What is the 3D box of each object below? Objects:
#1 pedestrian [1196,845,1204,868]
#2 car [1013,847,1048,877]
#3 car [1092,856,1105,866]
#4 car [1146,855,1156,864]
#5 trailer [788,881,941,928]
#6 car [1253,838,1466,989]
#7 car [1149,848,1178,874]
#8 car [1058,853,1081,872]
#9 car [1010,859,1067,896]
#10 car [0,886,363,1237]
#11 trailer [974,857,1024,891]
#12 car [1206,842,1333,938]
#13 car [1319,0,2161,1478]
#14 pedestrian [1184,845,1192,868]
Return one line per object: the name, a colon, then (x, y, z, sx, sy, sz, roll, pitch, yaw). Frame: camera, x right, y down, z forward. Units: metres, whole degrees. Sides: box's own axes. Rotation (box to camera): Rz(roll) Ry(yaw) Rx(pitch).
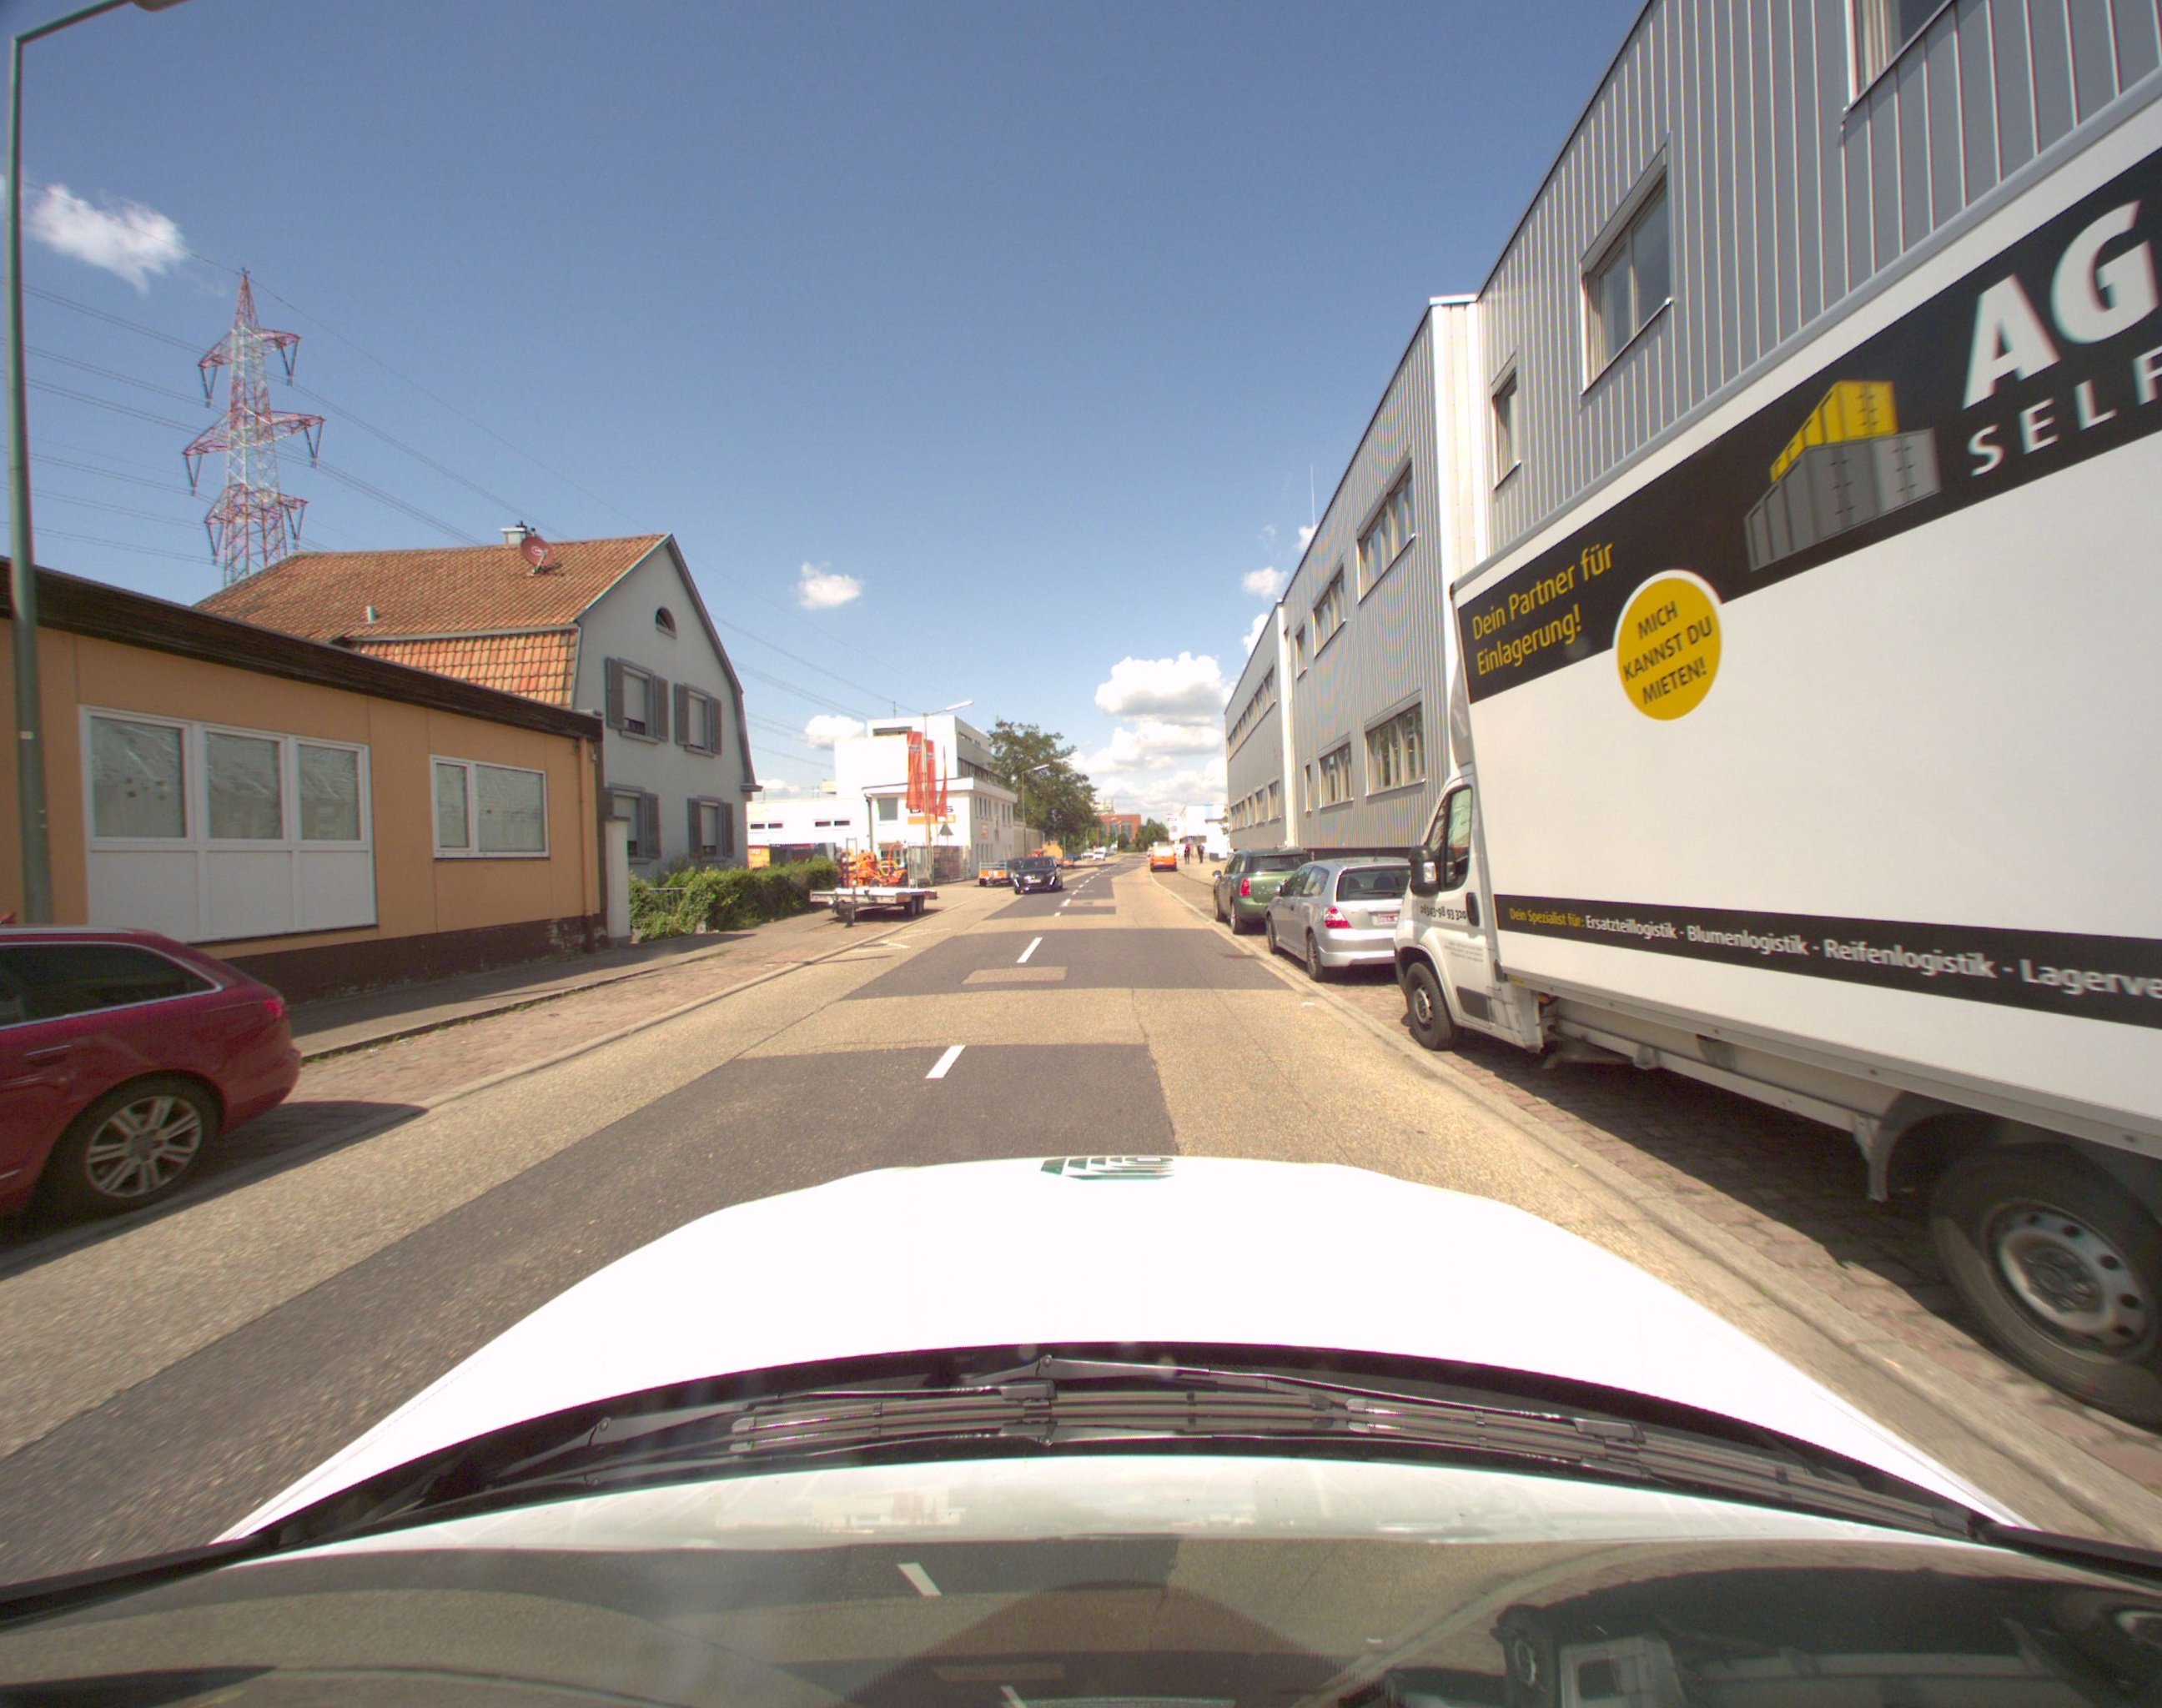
pedestrian: (10.784, 0.188, 73.788, 0.587, 2.051, 0.702, -2, 0, 1)
car: (-3.556, 0.568, 57.992, 1.984, 2.014, 4.004, -1, 0, 4)
car: (2.983, 1.176, 135.001, 1.801, 1.564, 4.006, -1, 0, 5)
car: (13.842, 1.060, 161.228, 1.931, 1.742, 4.382, -3, -1, 4)
trailer: (-5.438, 1.247, 21.426, 2.354, 0.893, 5.571, -1, 0, 2)
car: (3.465, 0.648, 10.924, 1.561, 1.573, 4.071, -3, 0, 2)
car: (5.860, 0.483, 58.351, 1.931, 1.742, 4.382, -3, -1, 4)
car: (-1.158, 0.866, 81.126, 1.913, 1.794, 4.004, -1, 0, 4)
car: (-1.620, 0.885, 32.467, 1.911, 1.285, 3.615, -3, 0, 1)
car: (-5.533, 0.920, 2.821, 1.755, 1.447, 4.743, -1, 0, 2)
trailer: (-4.197, 0.995, 42.476, 1.986, 1.556, 4.255, -2, 0, 2)
car: (3.591, 0.641, 16.189, 1.761, 1.612, 3.876, -3, -1, 3)
car: (3.502, -0.330, 3.920, 2.382, 3.362, 6.642, -5, 0, -1)
pedestrian: (9.584, 0.228, 73.127, 0.587, 2.013, 0.618, -2, 0, 1)
